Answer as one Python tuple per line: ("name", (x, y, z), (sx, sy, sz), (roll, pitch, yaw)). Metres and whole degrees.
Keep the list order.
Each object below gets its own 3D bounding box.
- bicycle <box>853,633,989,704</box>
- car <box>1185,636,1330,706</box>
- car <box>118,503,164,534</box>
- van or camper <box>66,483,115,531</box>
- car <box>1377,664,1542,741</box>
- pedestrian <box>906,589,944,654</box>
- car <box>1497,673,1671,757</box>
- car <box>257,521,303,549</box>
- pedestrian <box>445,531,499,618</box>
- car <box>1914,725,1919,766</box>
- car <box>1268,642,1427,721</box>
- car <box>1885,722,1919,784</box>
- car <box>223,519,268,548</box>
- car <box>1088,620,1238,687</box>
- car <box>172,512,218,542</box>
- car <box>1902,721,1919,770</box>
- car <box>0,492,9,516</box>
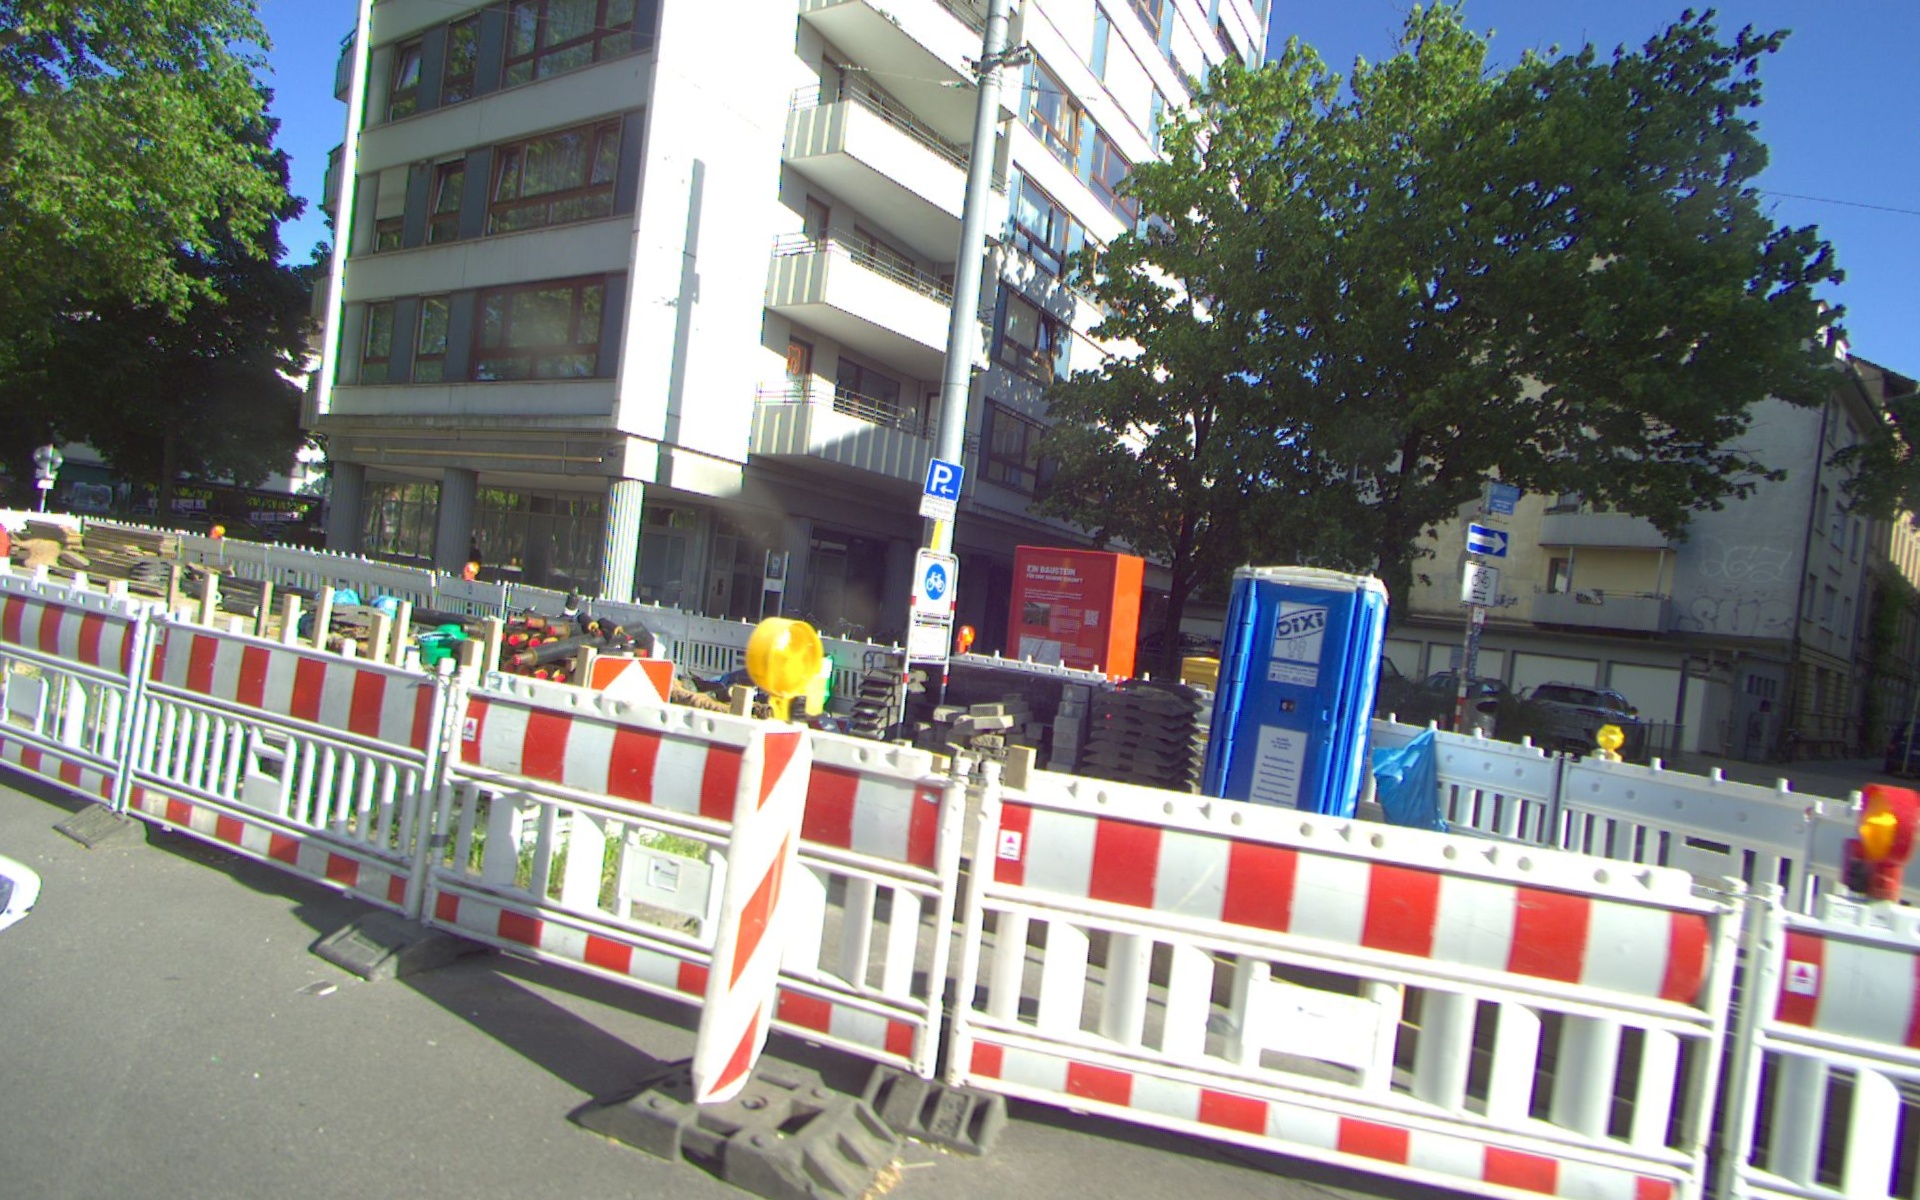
("bicycle", (-0.642, 1.160, 16.942), (2.019, 0.954, 1.006), (8, -1, -39))
("car", (8.546, 2.057, 28.717), (4.466, 1.541, 1.818), (8, -1, -42))
("car", (-54.607, -5.448, 67.029), (1.987, 1.690, 4.688), (7, 0, -43))
("van or camper", (-56.571, -6.032, 65.402), (2.139, 2.669, 5.522), (6, 0, -42))
("car", (12.140, 2.508, 24.320), (4.250, 1.435, 2.068), (8, -1, -42))
("pedestrian", (-1.085, 0.661, 30.857), (0.667, 1.875, 0.656), (7, -2, 34))
("car", (14.212, 2.636, 22.836), (4.344, 1.504, 1.969), (7, 0, -39))
("car", (-49.199, -4.738, 72.769), (1.987, 1.648, 4.337), (7, 0, -43))
("pedestrian", (-10.957, -0.562, 22.586), (0.654, 1.837, 0.690), (7, 1, 32))
("car", (43.658, 6.534, 44.271), (4.219, 1.845, 1.976), (7, 0, -42))
("car", (10.257, 2.170, 26.532), (4.204, 1.624, 2.130), (8, -1, -42))
("car", (32.070, 5.127, 33.131), (4.222, 1.845, 1.975), (7, 0, -44))
("car", (-50.701, -4.738, 71.357), (1.987, 1.648, 4.337), (7, 0, -43))
("car", (6.894, 1.807, 34.256), (4.420, 1.657, 2.152), (7, 0, 30))
("car", (-52.793, -5.059, 69.348), (1.987, 1.690, 4.688), (7, 0, -43))
("car", (39.605, 5.993, 40.505), (4.219, 1.845, 1.976), (7, 0, -42))
("car", (-68.325, -6.892, 68.803), (4.572, 1.600, 1.976), (8, -1, -43))
